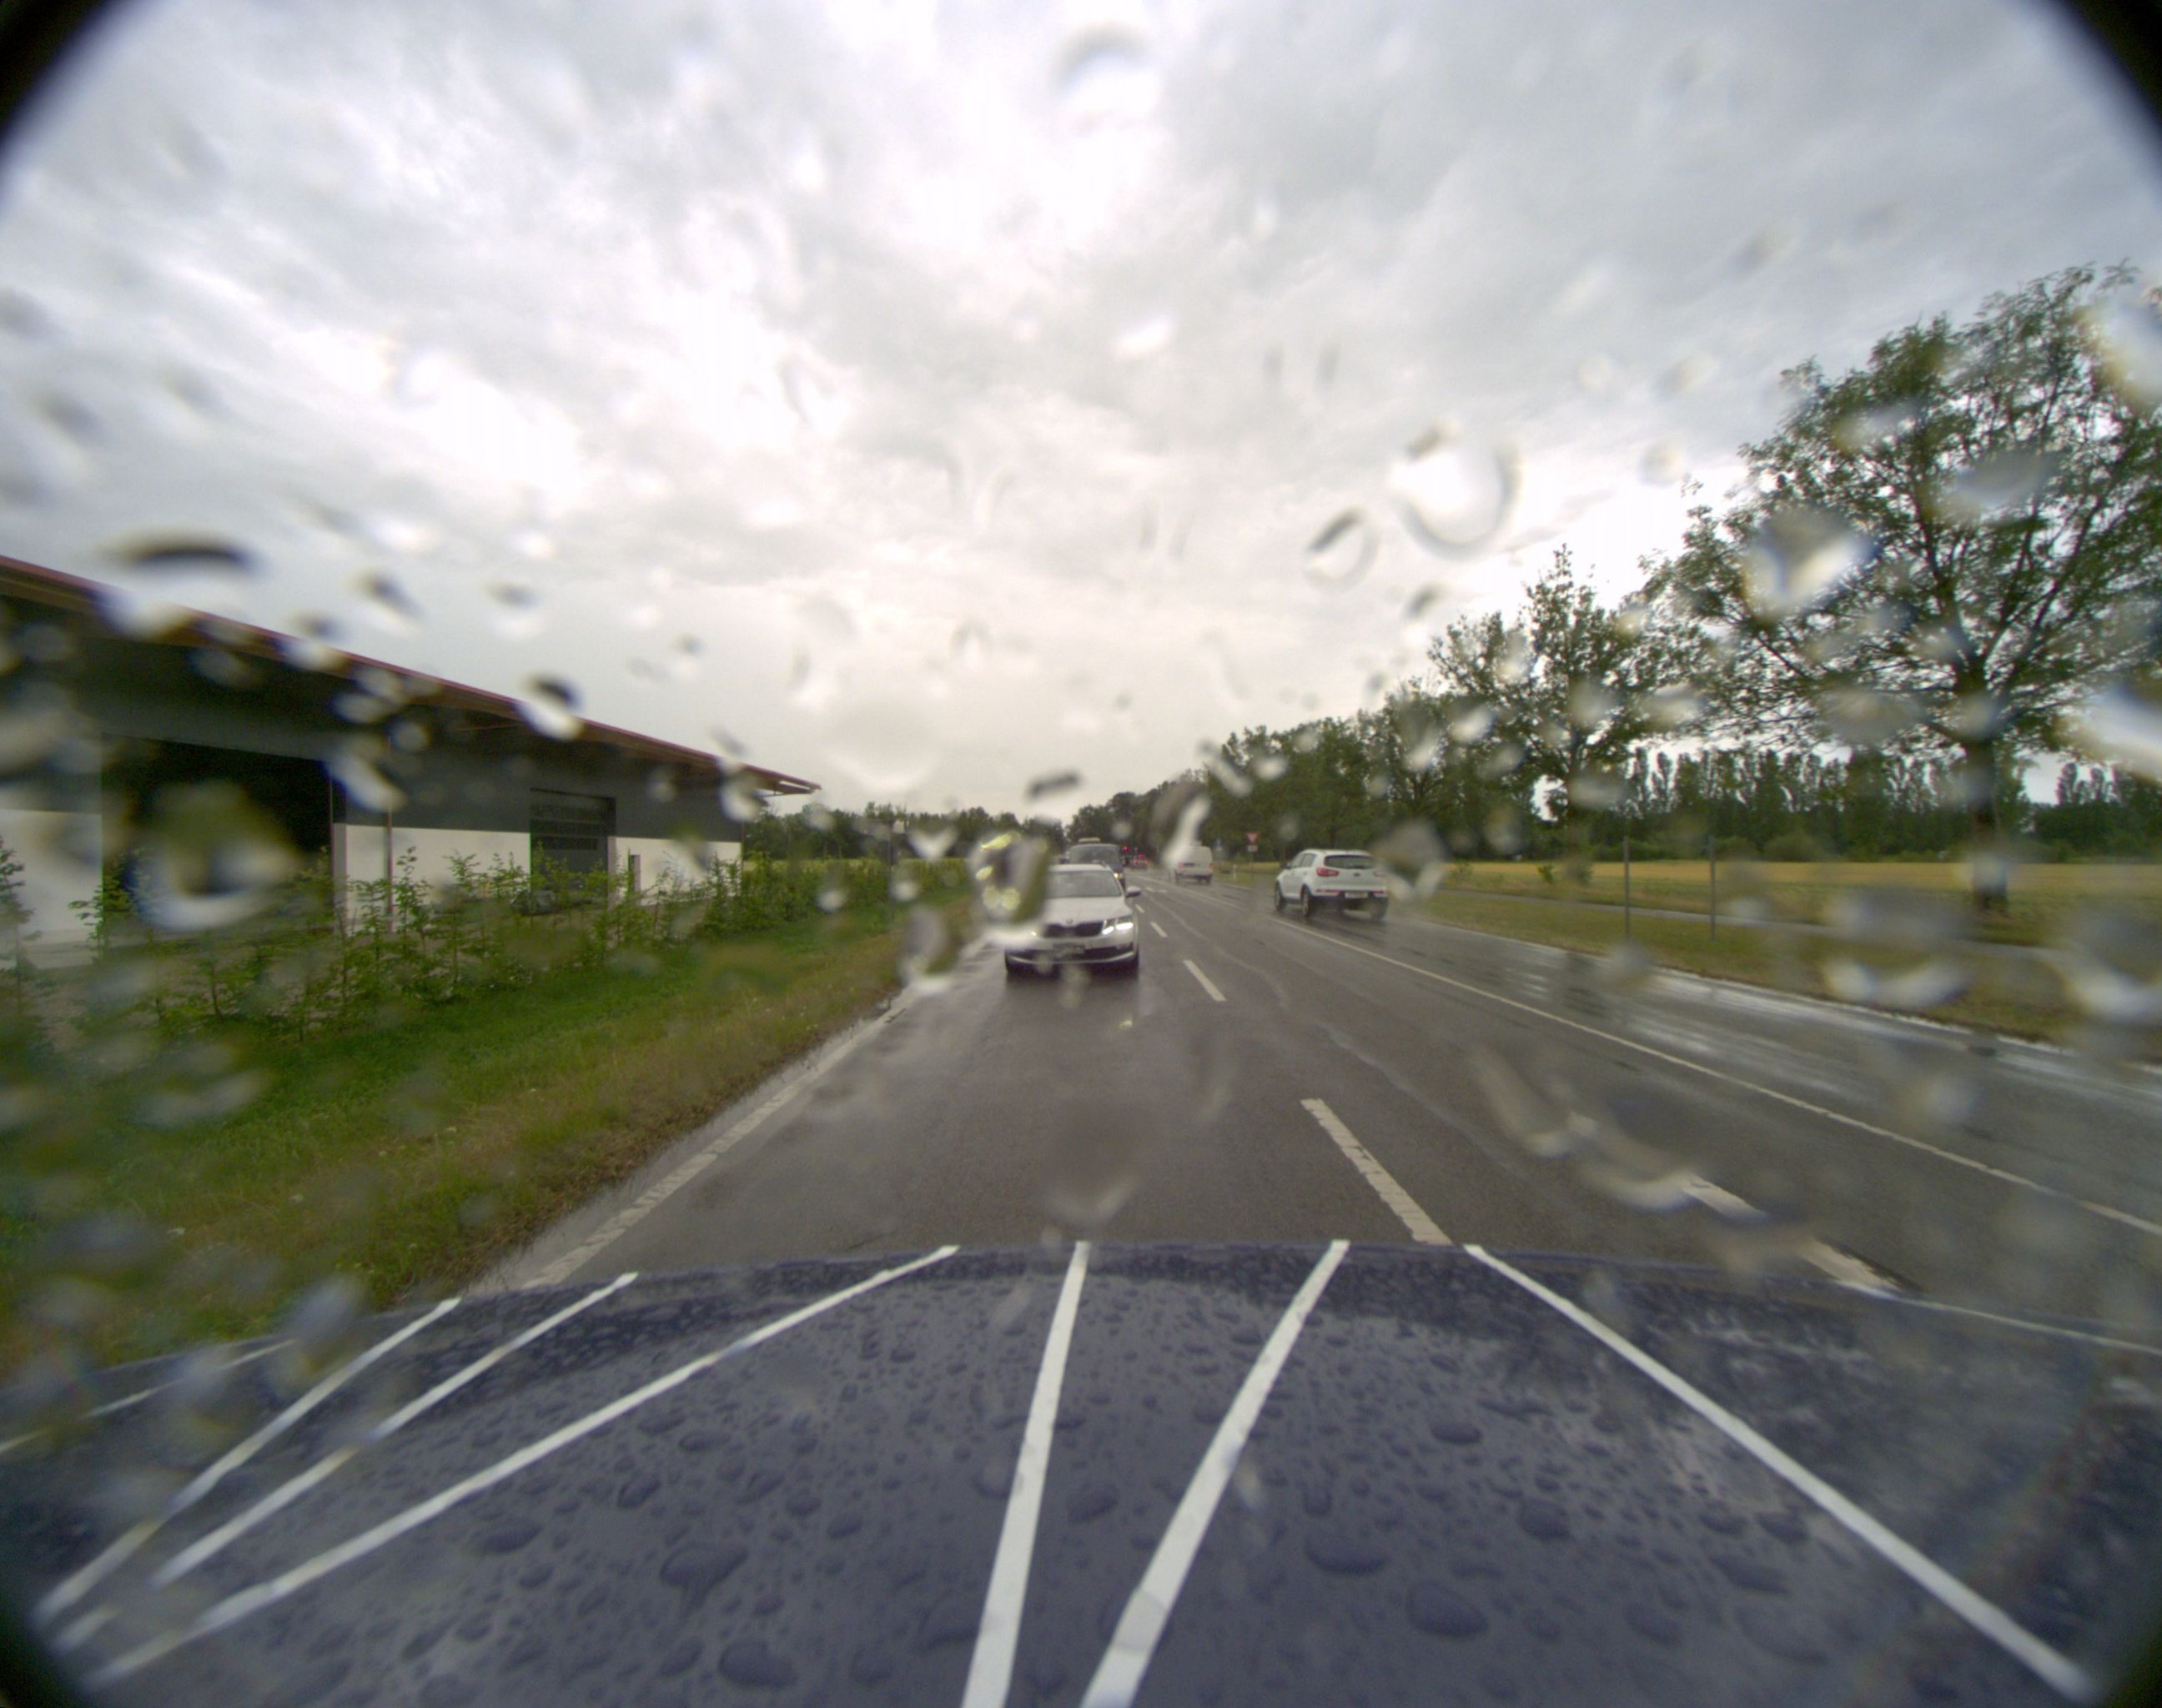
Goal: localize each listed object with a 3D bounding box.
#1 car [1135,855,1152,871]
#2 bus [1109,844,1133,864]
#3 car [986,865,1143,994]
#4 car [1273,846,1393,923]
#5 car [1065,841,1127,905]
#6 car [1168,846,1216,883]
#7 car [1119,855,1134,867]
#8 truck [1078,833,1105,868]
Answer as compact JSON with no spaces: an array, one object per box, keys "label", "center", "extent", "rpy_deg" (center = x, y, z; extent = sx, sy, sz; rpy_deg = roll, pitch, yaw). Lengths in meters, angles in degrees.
[{"label":"car","center":[6.528,0.943,79.655],"extent":[1.504,1.521,3.301],"rpy_deg":[1,0,2]},{"label":"bus","center":[5.849,-0.072,113.089],"extent":[2.958,2.895,12.473],"rpy_deg":[0,1,0]},{"label":"car","center":[-0.169,0.944,11.460],"extent":[1.843,1.379,4.569],"rpy_deg":[-2,1,1]},{"label":"car","center":[6.120,0.662,18.969],"extent":[1.708,1.661,4.156],"rpy_deg":[1,0,2]},{"label":"car","center":[0.485,0.566,25.131],"extent":[1.892,1.939,4.000],"rpy_deg":[0,0,1]},{"label":"car","center":[6.016,0.504,41.596],"extent":[1.921,1.851,4.684],"rpy_deg":[1,1,1]},{"label":"car","center":[5.733,0.821,95.390],"extent":[1.672,1.442,3.461],"rpy_deg":[1,0,1]},{"label":"truck","center":[1.279,-0.390,91.248],"extent":[2.931,3.828,14.120],"rpy_deg":[0,0,1]}]
